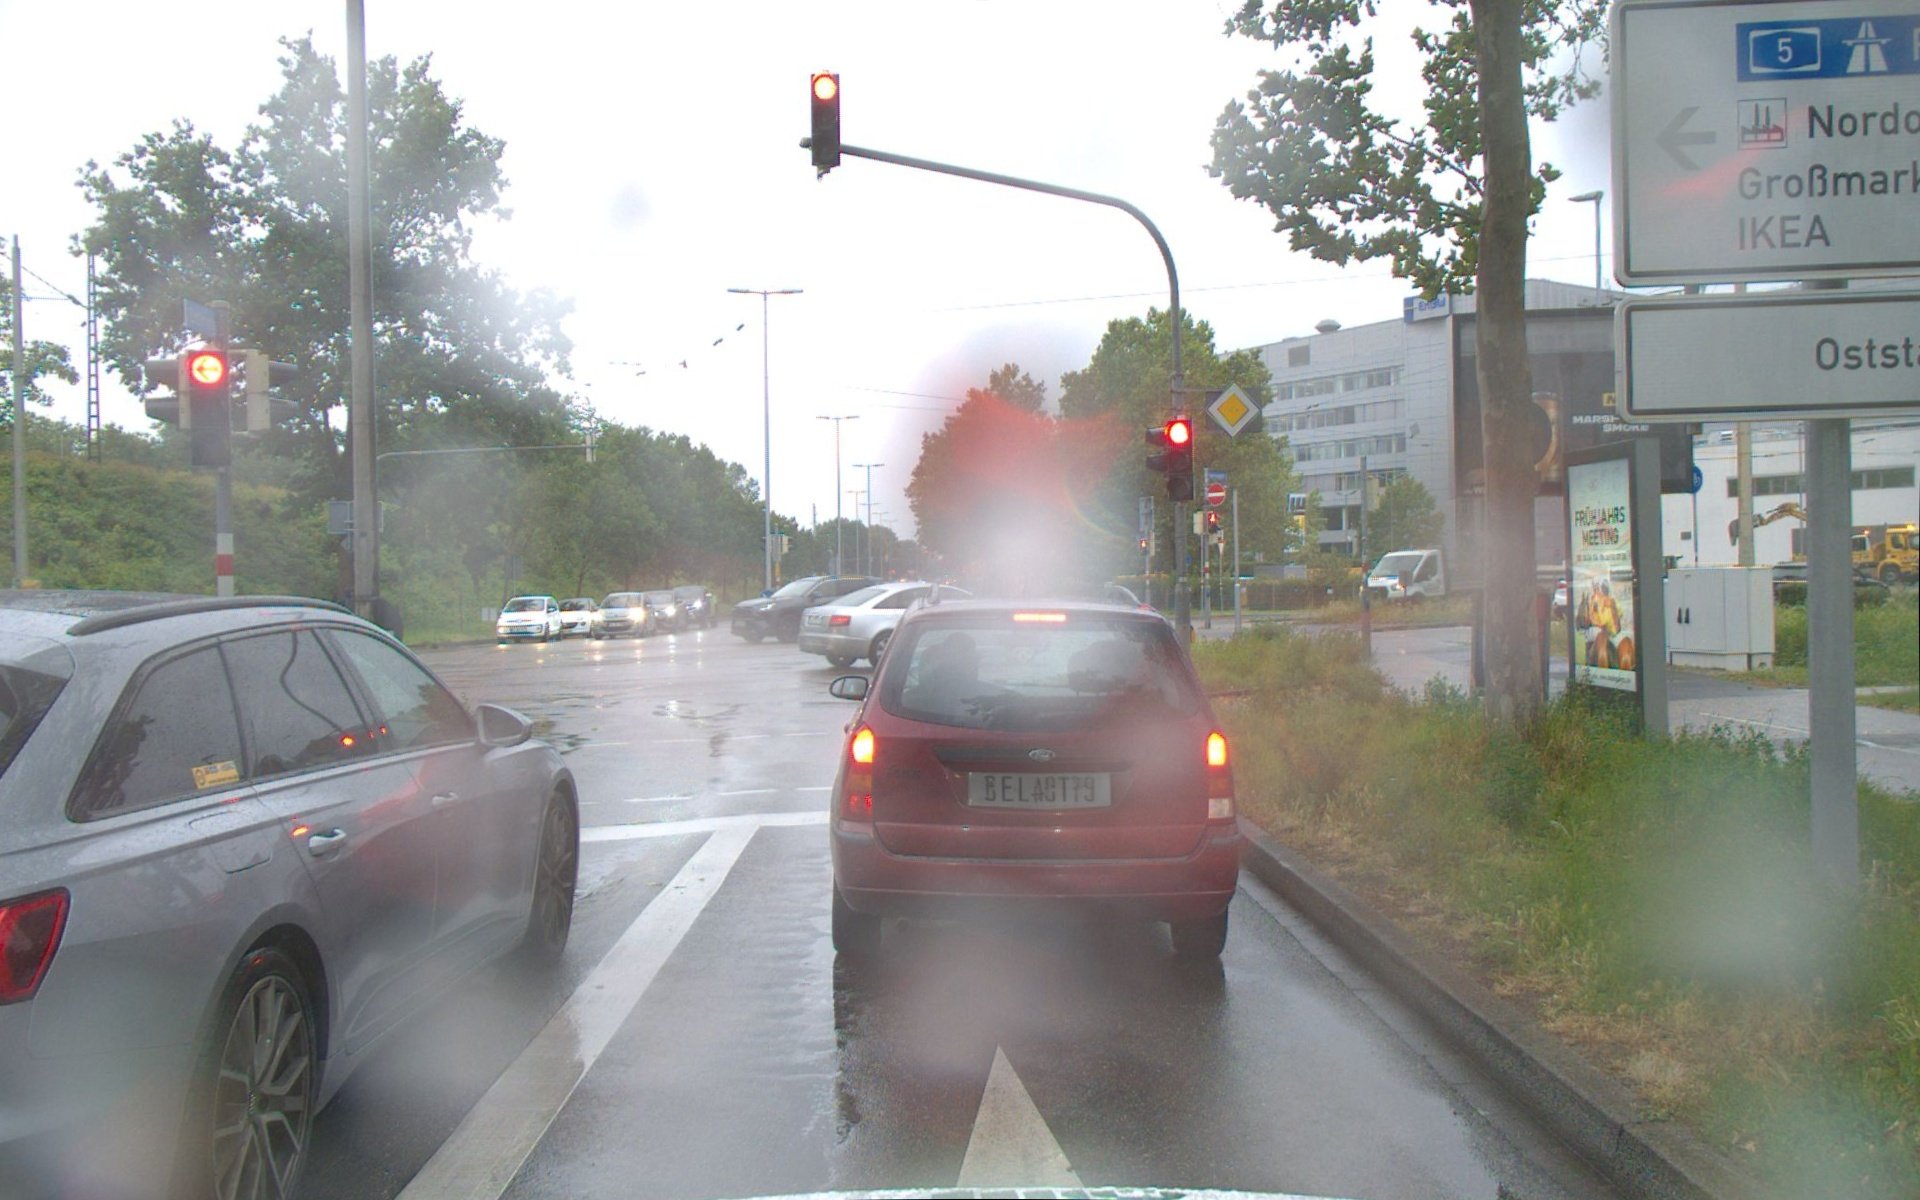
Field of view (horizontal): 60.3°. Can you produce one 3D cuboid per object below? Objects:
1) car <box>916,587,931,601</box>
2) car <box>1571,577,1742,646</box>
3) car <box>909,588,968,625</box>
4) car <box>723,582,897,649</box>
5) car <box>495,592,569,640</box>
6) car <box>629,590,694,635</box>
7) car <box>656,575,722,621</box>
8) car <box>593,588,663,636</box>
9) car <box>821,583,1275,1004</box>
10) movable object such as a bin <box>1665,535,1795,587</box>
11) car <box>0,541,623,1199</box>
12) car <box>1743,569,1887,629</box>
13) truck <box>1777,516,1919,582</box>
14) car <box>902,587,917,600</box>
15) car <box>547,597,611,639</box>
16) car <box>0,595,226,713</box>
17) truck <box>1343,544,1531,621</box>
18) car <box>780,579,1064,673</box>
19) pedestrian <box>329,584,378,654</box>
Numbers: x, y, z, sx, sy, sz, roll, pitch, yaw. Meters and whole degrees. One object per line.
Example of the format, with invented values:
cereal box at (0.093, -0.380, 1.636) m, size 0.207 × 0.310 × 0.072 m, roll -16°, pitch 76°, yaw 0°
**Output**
car at (-4.191, -0.747, 190.986) m, size 1.663 × 1.554 × 3.846 m, roll -1°, pitch 0°, yaw 0°
car at (17.443, 0.269, 41.342) m, size 4.575 × 1.614 × 1.902 m, roll -1°, pitch 0°, yaw -37°
car at (-1.128, 0.306, 84.672) m, size 1.963 × 1.822 × 3.979 m, roll 1°, pitch 0°, yaw -18°
car at (-3.826, 0.367, 42.473) m, size 4.202 × 1.586 × 1.723 m, roll -1°, pitch 0°, yaw -38°
car at (-14.164, 0.498, 54.885) m, size 1.605 × 1.478 × 3.785 m, roll -2°, pitch 1°, yaw -3°
car at (-11.354, 0.466, 63.117) m, size 1.727 × 1.614 × 4.811 m, roll -2°, pitch 0°, yaw -2°
car at (-11.629, -0.101, 71.284) m, size 2.024 × 1.851 × 5.539 m, roll -2°, pitch 1°, yaw -2°
car at (-11.199, 0.373, 55.976) m, size 1.605 × 1.499 × 3.964 m, roll -2°, pitch 1°, yaw -1°
car at (0.263, 0.680, 7.795) m, size 1.609 × 1.490 × 3.731 m, roll 1°, pitch 0°, yaw -2°
movable object such as a bin at (48.342, -2.425, 103.982) m, size 3.293 × 3.048 × 6.634 m, roll -2°, pitch 0°, yaw -36°
car at (-2.291, 0.675, 4.838) m, size 1.733 × 1.601 × 4.819 m, roll 1°, pitch 0°, yaw -2°
car at (24.498, -0.047, 47.330) m, size 4.578 × 1.614 × 1.901 m, roll -1°, pitch 0°, yaw -38°
truck at (52.796, -2.952, 97.371) m, size 3.292 × 3.568 × 7.789 m, roll -2°, pitch 0°, yaw -36°
car at (-6.098, -0.752, 201.291) m, size 1.663 × 1.554 × 3.846 m, roll -1°, pitch 0°, yaw 1°
car at (-14.065, 0.639, 61.212) m, size 1.558 × 1.428 × 3.822 m, roll -2°, pitch 1°, yaw -2°
car at (-12.113, 0.692, 22.474) m, size 3.765 × 1.517 × 1.661 m, roll 0°, pitch 0°, yaw -31°
truck at (15.870, -0.599, 54.779) m, size 6.796 × 2.406 × 2.449 m, roll -1°, pitch 0°, yaw -38°
car at (-0.644, 0.427, 29.464) m, size 4.766 × 1.517 × 1.907 m, roll -1°, pitch 0°, yaw -31°
pedestrian at (-16.650, 0.514, 45.435) m, size 1.083 × 1.879 × 1.127 m, roll -1°, pitch 0°, yaw -13°
